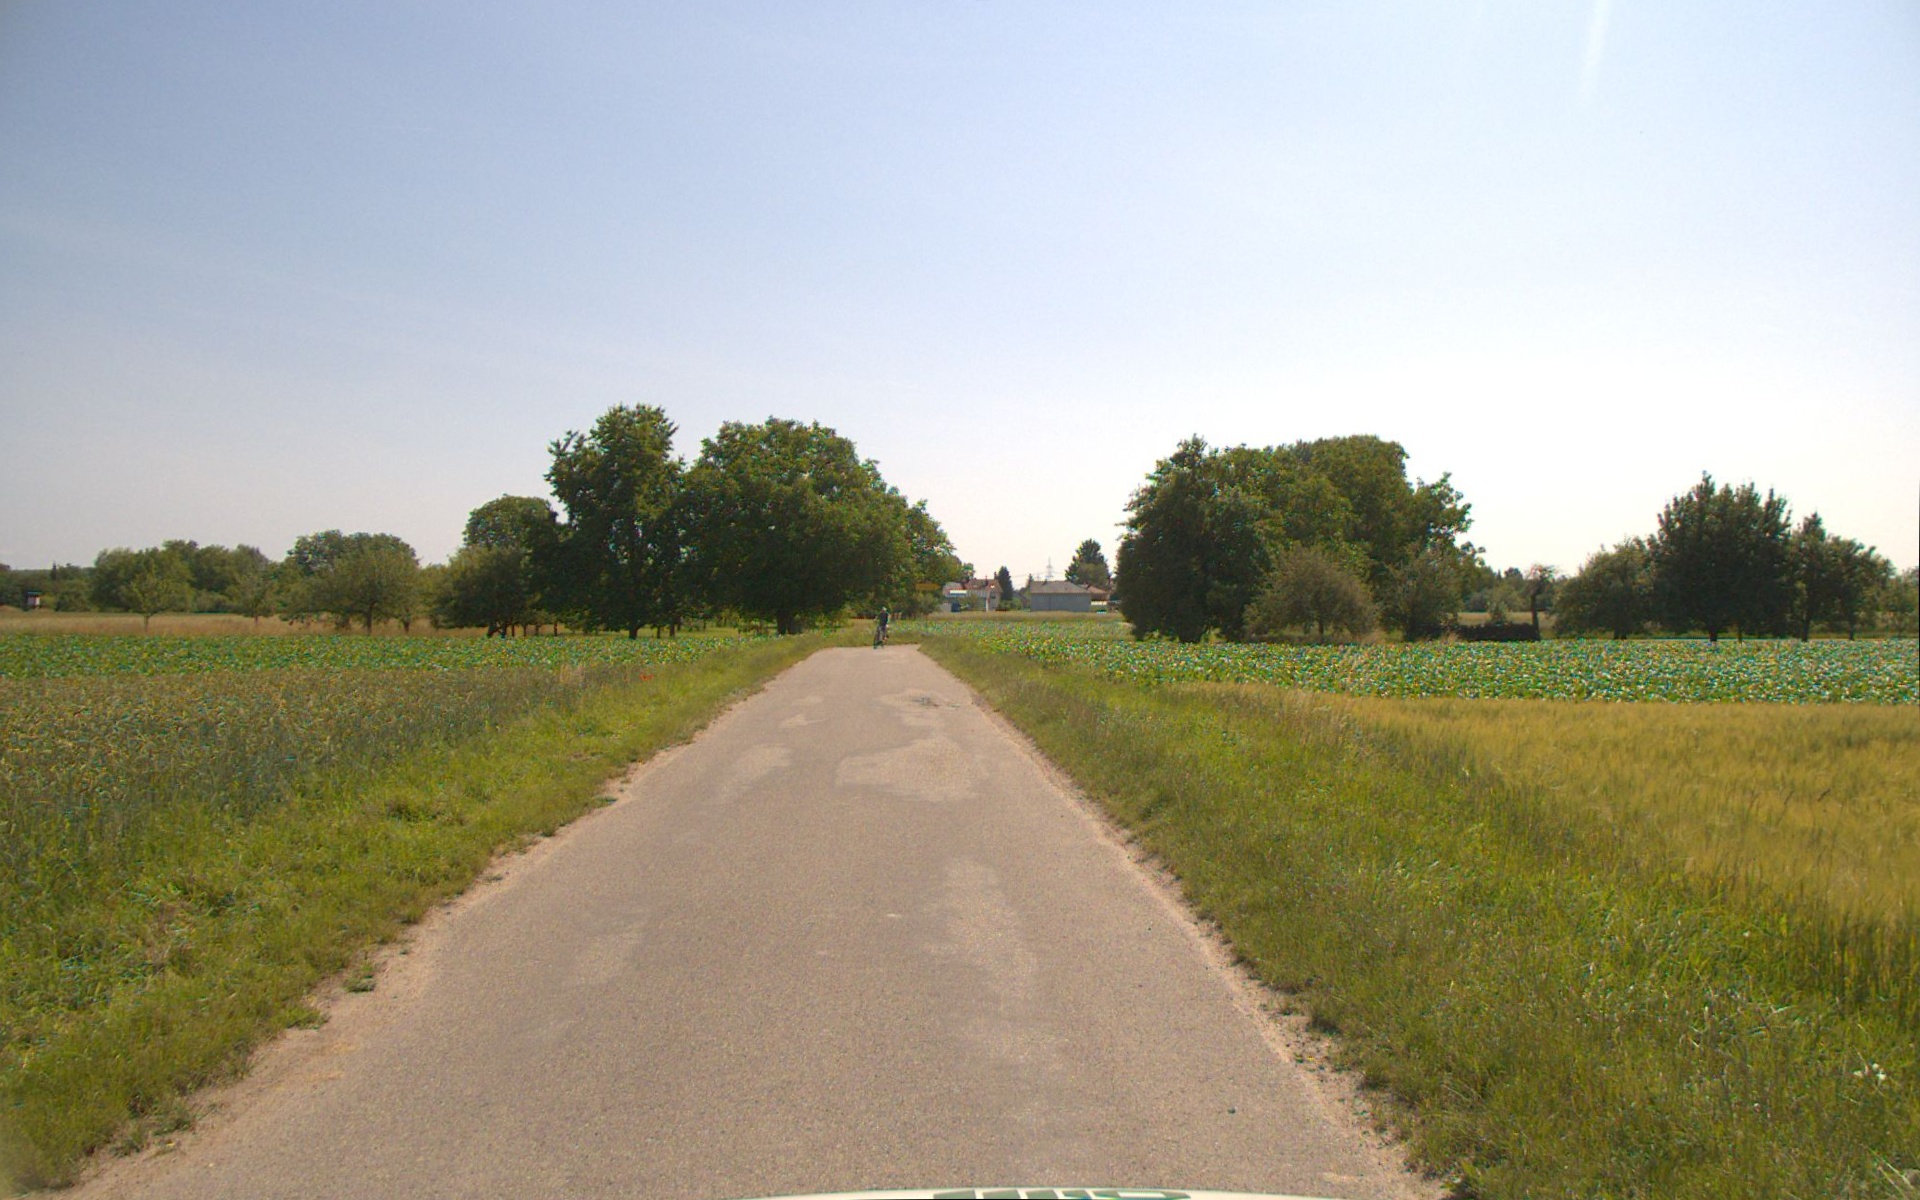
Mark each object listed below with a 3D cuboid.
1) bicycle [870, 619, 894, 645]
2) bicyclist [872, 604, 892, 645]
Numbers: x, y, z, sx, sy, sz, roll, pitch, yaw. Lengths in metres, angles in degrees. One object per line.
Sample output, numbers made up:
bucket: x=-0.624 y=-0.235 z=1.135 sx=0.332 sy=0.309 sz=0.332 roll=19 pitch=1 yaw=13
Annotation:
bicycle: x=-3.475 y=1.425 z=74.012 sx=0.734 sy=1.147 sz=1.909 roll=-2 pitch=0 yaw=6
bicyclist: x=-3.482 y=1.097 z=74.019 sx=0.734 sy=1.822 sz=0.717 roll=-2 pitch=-1 yaw=6
